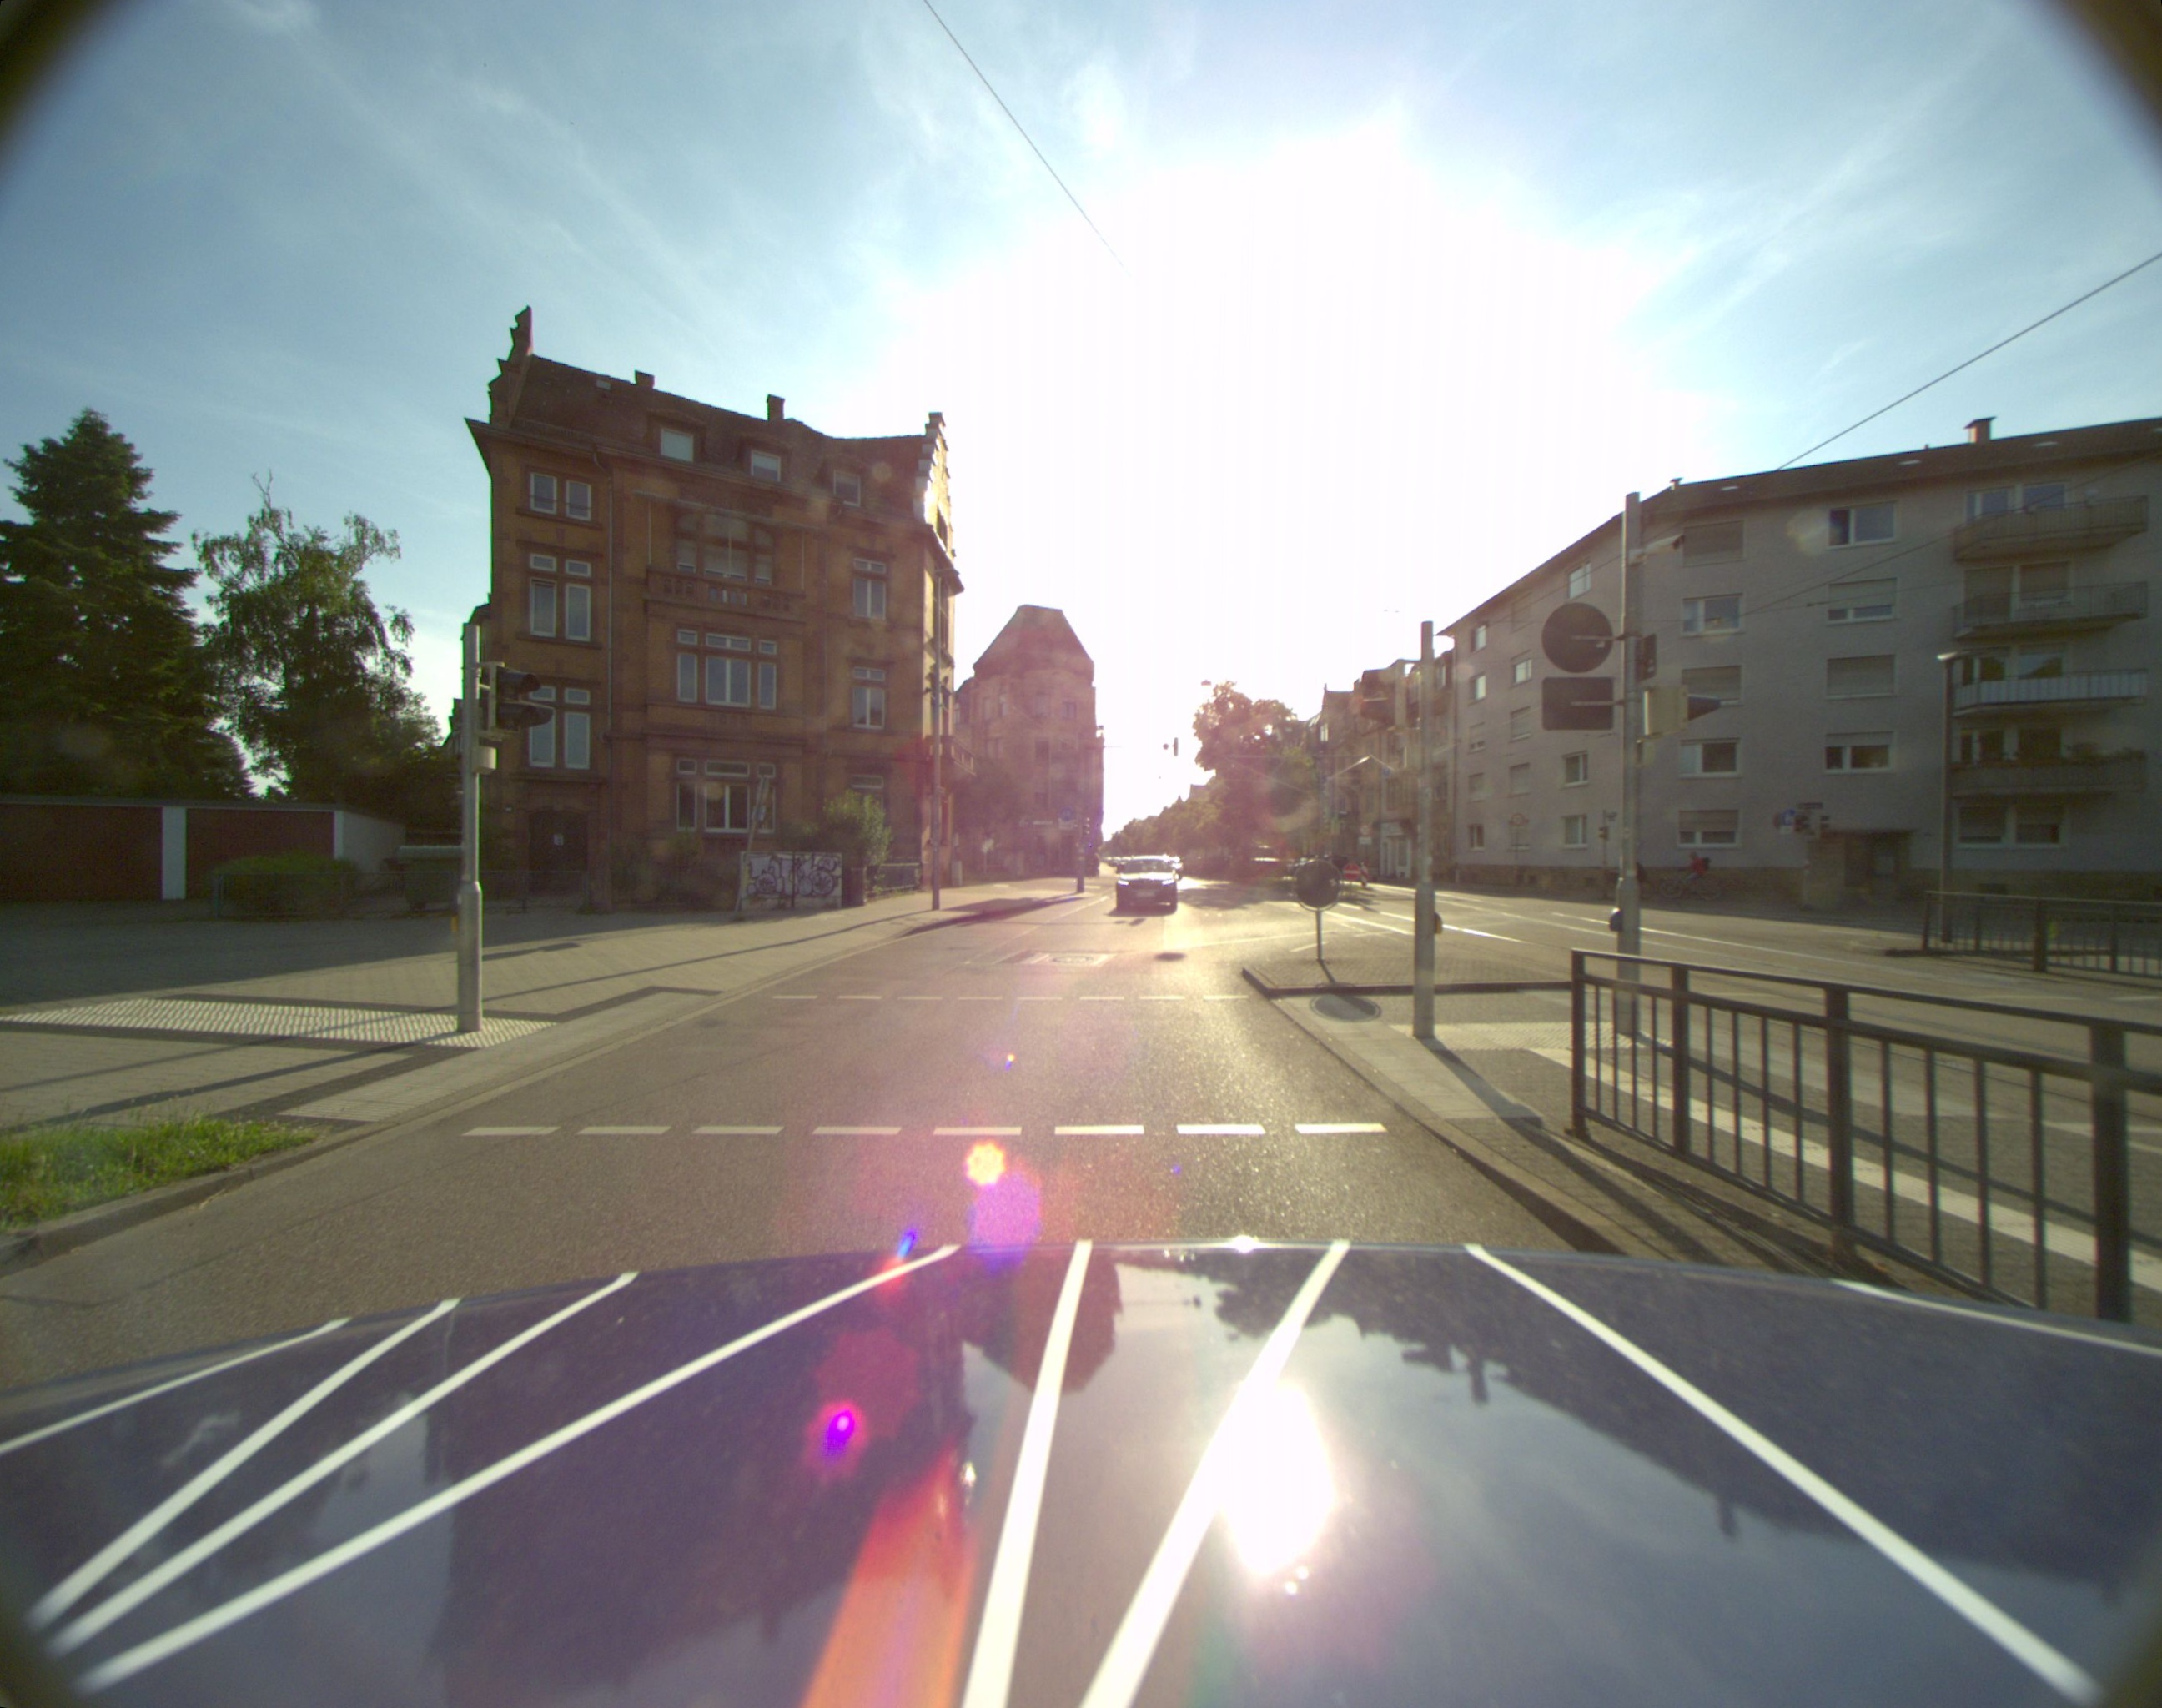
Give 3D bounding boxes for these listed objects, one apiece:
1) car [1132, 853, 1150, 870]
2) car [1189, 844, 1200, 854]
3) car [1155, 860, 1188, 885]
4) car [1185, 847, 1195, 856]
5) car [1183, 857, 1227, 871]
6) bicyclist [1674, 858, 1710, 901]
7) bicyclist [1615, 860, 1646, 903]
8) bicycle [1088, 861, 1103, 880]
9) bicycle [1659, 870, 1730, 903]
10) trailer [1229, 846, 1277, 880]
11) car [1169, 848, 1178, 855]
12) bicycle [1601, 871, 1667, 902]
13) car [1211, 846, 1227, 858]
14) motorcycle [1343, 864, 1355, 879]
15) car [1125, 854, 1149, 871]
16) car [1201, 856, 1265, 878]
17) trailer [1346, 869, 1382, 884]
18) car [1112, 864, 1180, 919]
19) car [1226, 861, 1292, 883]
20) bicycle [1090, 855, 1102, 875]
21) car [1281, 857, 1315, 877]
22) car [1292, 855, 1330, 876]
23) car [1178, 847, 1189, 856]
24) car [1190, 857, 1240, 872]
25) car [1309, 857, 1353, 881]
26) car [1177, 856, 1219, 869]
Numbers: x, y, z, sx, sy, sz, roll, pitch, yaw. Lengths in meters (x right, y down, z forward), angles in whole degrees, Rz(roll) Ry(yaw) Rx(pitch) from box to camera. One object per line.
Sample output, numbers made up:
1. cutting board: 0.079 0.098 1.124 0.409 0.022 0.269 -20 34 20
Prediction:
1. car: 7.314 0.921 92.500 1.998 2.002 4.000 0 0 1
2. car: 23.551 -0.923 157.142 1.998 2.002 4.002 -1 0 5
3. car: 5.848 1.160 49.251 1.997 1.564 4.002 -1 0 6
4. car: 24.118 -0.580 168.237 1.998 2.002 4.002 -1 0 5
5. car: 12.850 1.001 78.862 4.259 1.414 1.685 -1 0 43
6. bicyclist: 23.226 0.959 28.913 0.851 1.632 0.815 -1 0 22
7. bicyclist: 21.274 1.054 29.441 0.771 1.633 0.796 1 0 22
8. bicycle: 0.941 1.076 48.546 0.483 1.183 1.341 0 0 23
9. bicycle: 23.318 1.223 28.927 1.976 1.196 0.736 -1 0 22
10. trailer: 12.231 0.651 54.074 2.858 2.378 1.726 -1 0 33
11. car: 24.686 -0.630 202.467 1.998 2.002 4.000 -1 0 1
12. bicycle: 21.383 1.246 29.423 1.912 1.104 0.736 1 0 22
13. car: 22.903 -0.299 126.119 1.998 2.002 4.001 -1 0 2
14. motorcycle: 19.600 1.299 55.580 0.636 1.073 1.737 -1 0 26
15. car: 4.992 0.779 68.418 1.840 1.494 4.266 -1 0 0
16. car: 12.355 1.008 62.043 4.704 1.680 2.177 0 0 43
17. trailer: 19.726 1.554 53.003 1.444 0.891 2.880 -5 0 2
18. car: 1.879 1.050 22.837 1.839 1.472 4.001 0 0 3
19. car: 11.855 1.158 50.796 3.941 1.352 1.676 1 0 37
20. bicycle: 0.951 0.721 48.574 0.574 1.290 0.689 0 0 23
21. car: 20.328 1.204 71.386 2.170 1.739 4.612 -1 0 4
22. car: 19.935 0.951 65.999 2.170 1.739 4.612 -1 0 4
23. car: 24.425 -0.566 180.829 1.998 2.002 4.000 -1 0 1
24. car: 12.662 0.985 71.984 4.294 1.414 1.963 -1 0 43
25. car: 19.503 1.142 59.491 2.170 1.739 4.719 -1 0 4
26. car: 13.234 0.933 86.137 4.259 1.414 2.177 -1 0 43
